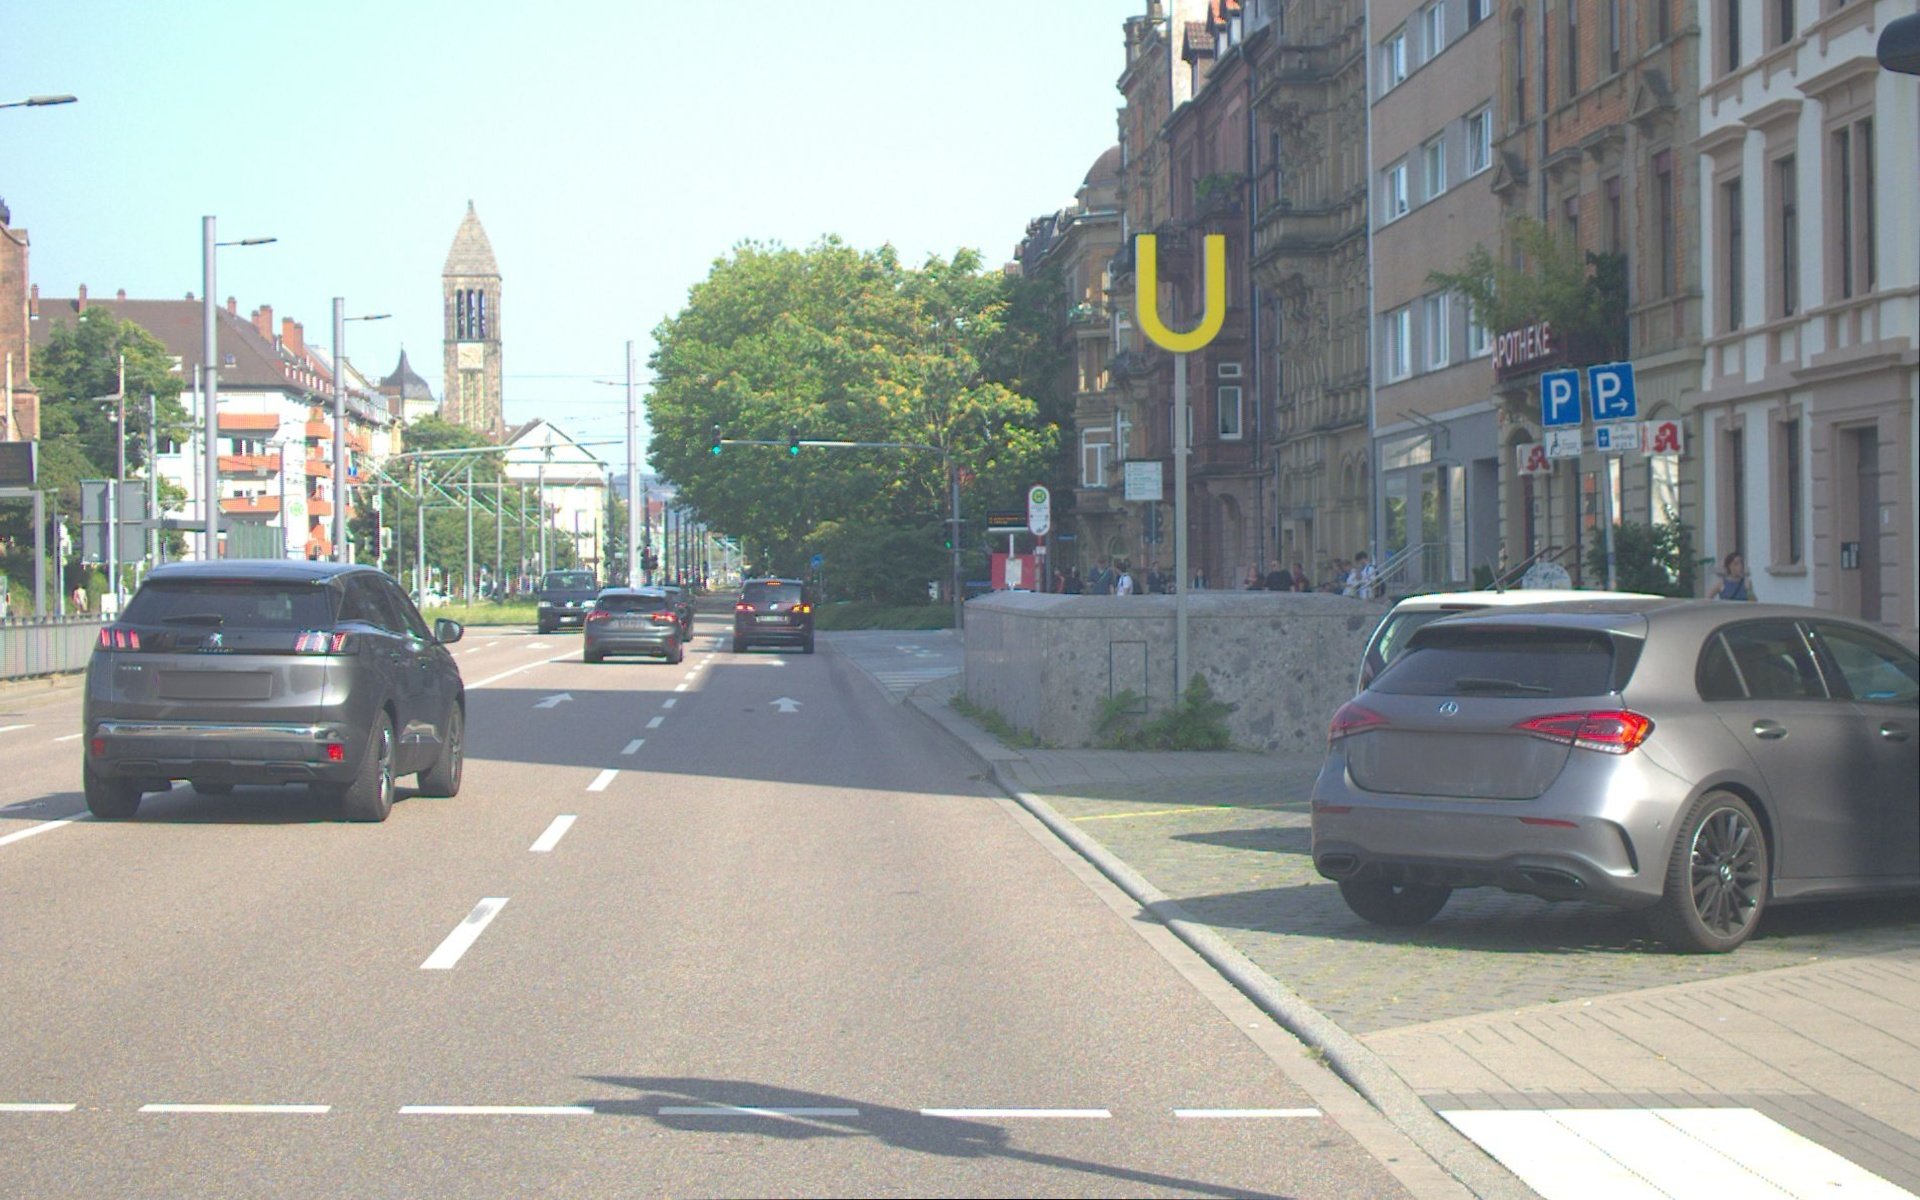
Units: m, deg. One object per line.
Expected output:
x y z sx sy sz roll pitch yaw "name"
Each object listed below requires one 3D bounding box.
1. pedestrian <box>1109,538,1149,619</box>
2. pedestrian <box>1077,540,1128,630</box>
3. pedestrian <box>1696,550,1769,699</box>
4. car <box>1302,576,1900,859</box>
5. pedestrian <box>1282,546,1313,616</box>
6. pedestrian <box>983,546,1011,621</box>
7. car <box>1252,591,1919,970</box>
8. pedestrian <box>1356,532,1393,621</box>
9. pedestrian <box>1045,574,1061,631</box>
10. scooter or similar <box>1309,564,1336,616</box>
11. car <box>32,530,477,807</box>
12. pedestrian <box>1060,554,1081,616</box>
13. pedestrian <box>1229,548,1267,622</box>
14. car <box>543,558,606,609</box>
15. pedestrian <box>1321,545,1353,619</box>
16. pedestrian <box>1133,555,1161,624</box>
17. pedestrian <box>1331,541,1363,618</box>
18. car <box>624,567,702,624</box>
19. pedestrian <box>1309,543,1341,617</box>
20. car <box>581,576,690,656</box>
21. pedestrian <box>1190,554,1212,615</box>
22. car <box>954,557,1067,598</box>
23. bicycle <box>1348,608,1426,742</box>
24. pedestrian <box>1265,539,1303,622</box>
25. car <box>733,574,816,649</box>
3.641 -0.467 74.103 0.749 1.723 0.801 -1 1 -6 "pedestrian"
2.914 -0.302 70.487 0.925 1.825 0.801 -1 1 -6 "pedestrian"
8.525 0.259 37.956 0.608 1.623 0.737 -1 0 -2 "pedestrian"
3.700 0.596 19.531 3.519 1.459 1.622 0 0 -45 "car"
8.000 -0.453 81.500 0.603 1.649 0.587 -1 1 -6 "pedestrian"
0.864 -0.391 80.089 0.564 1.723 0.745 -1 1 -6 "pedestrian"
3.474 0.675 15.135 4.397 1.418 1.847 0 0 -42 "car"
8.642 -0.490 71.648 0.603 1.825 0.742 -1 1 -6 "pedestrian"
2.085 0.049 77.173 0.275 1.270 0.448 -1 1 -10 "pedestrian"
8.063 -0.225 76.487 0.360 1.159 1.152 -1 1 -6 "scooter or similar"
-4.464 0.371 22.438 1.993 1.615 4.357 -1 1 0 "car"
3.031 -0.408 94.168 0.481 1.696 0.703 -1 1 -6 "pedestrian"
6.248 -0.324 74.668 0.720 1.605 0.856 0 0 -2 "pedestrian"
-11.857 -0.519 105.873 1.740 1.521 3.874 -1 1 -4 "car"
8.618 -0.413 78.518 0.603 1.686 0.587 -1 1 -6 "pedestrian"
4.889 -0.282 89.950 0.617 1.798 1.071 0 0 -2 "pedestrian"
8.742 -0.460 77.696 0.603 1.725 0.511 -1 1 -6 "pedestrian"
-7.838 -0.129 90.958 1.864 1.419 4.357 1 1 -3 "car"
8.428 -0.461 79.448 0.603 1.686 0.587 -1 1 -6 "pedestrian"
-6.198 0.280 66.071 1.864 1.419 4.357 1 1 -3 "car"
6.319 -0.405 90.037 0.486 1.605 0.813 0 0 -2 "pedestrian"
1.971 -0.894 135.025 4.179 1.558 2.000 -1 1 -7 "car"
3.802 0.655 30.701 0.383 1.130 1.790 -1 1 -3 "bicycle"
7.039 -0.419 74.669 0.720 1.781 0.856 0 0 -2 "pedestrian"
-4.270 0.245 79.354 1.831 1.615 4.357 1 1 -3 "car"
